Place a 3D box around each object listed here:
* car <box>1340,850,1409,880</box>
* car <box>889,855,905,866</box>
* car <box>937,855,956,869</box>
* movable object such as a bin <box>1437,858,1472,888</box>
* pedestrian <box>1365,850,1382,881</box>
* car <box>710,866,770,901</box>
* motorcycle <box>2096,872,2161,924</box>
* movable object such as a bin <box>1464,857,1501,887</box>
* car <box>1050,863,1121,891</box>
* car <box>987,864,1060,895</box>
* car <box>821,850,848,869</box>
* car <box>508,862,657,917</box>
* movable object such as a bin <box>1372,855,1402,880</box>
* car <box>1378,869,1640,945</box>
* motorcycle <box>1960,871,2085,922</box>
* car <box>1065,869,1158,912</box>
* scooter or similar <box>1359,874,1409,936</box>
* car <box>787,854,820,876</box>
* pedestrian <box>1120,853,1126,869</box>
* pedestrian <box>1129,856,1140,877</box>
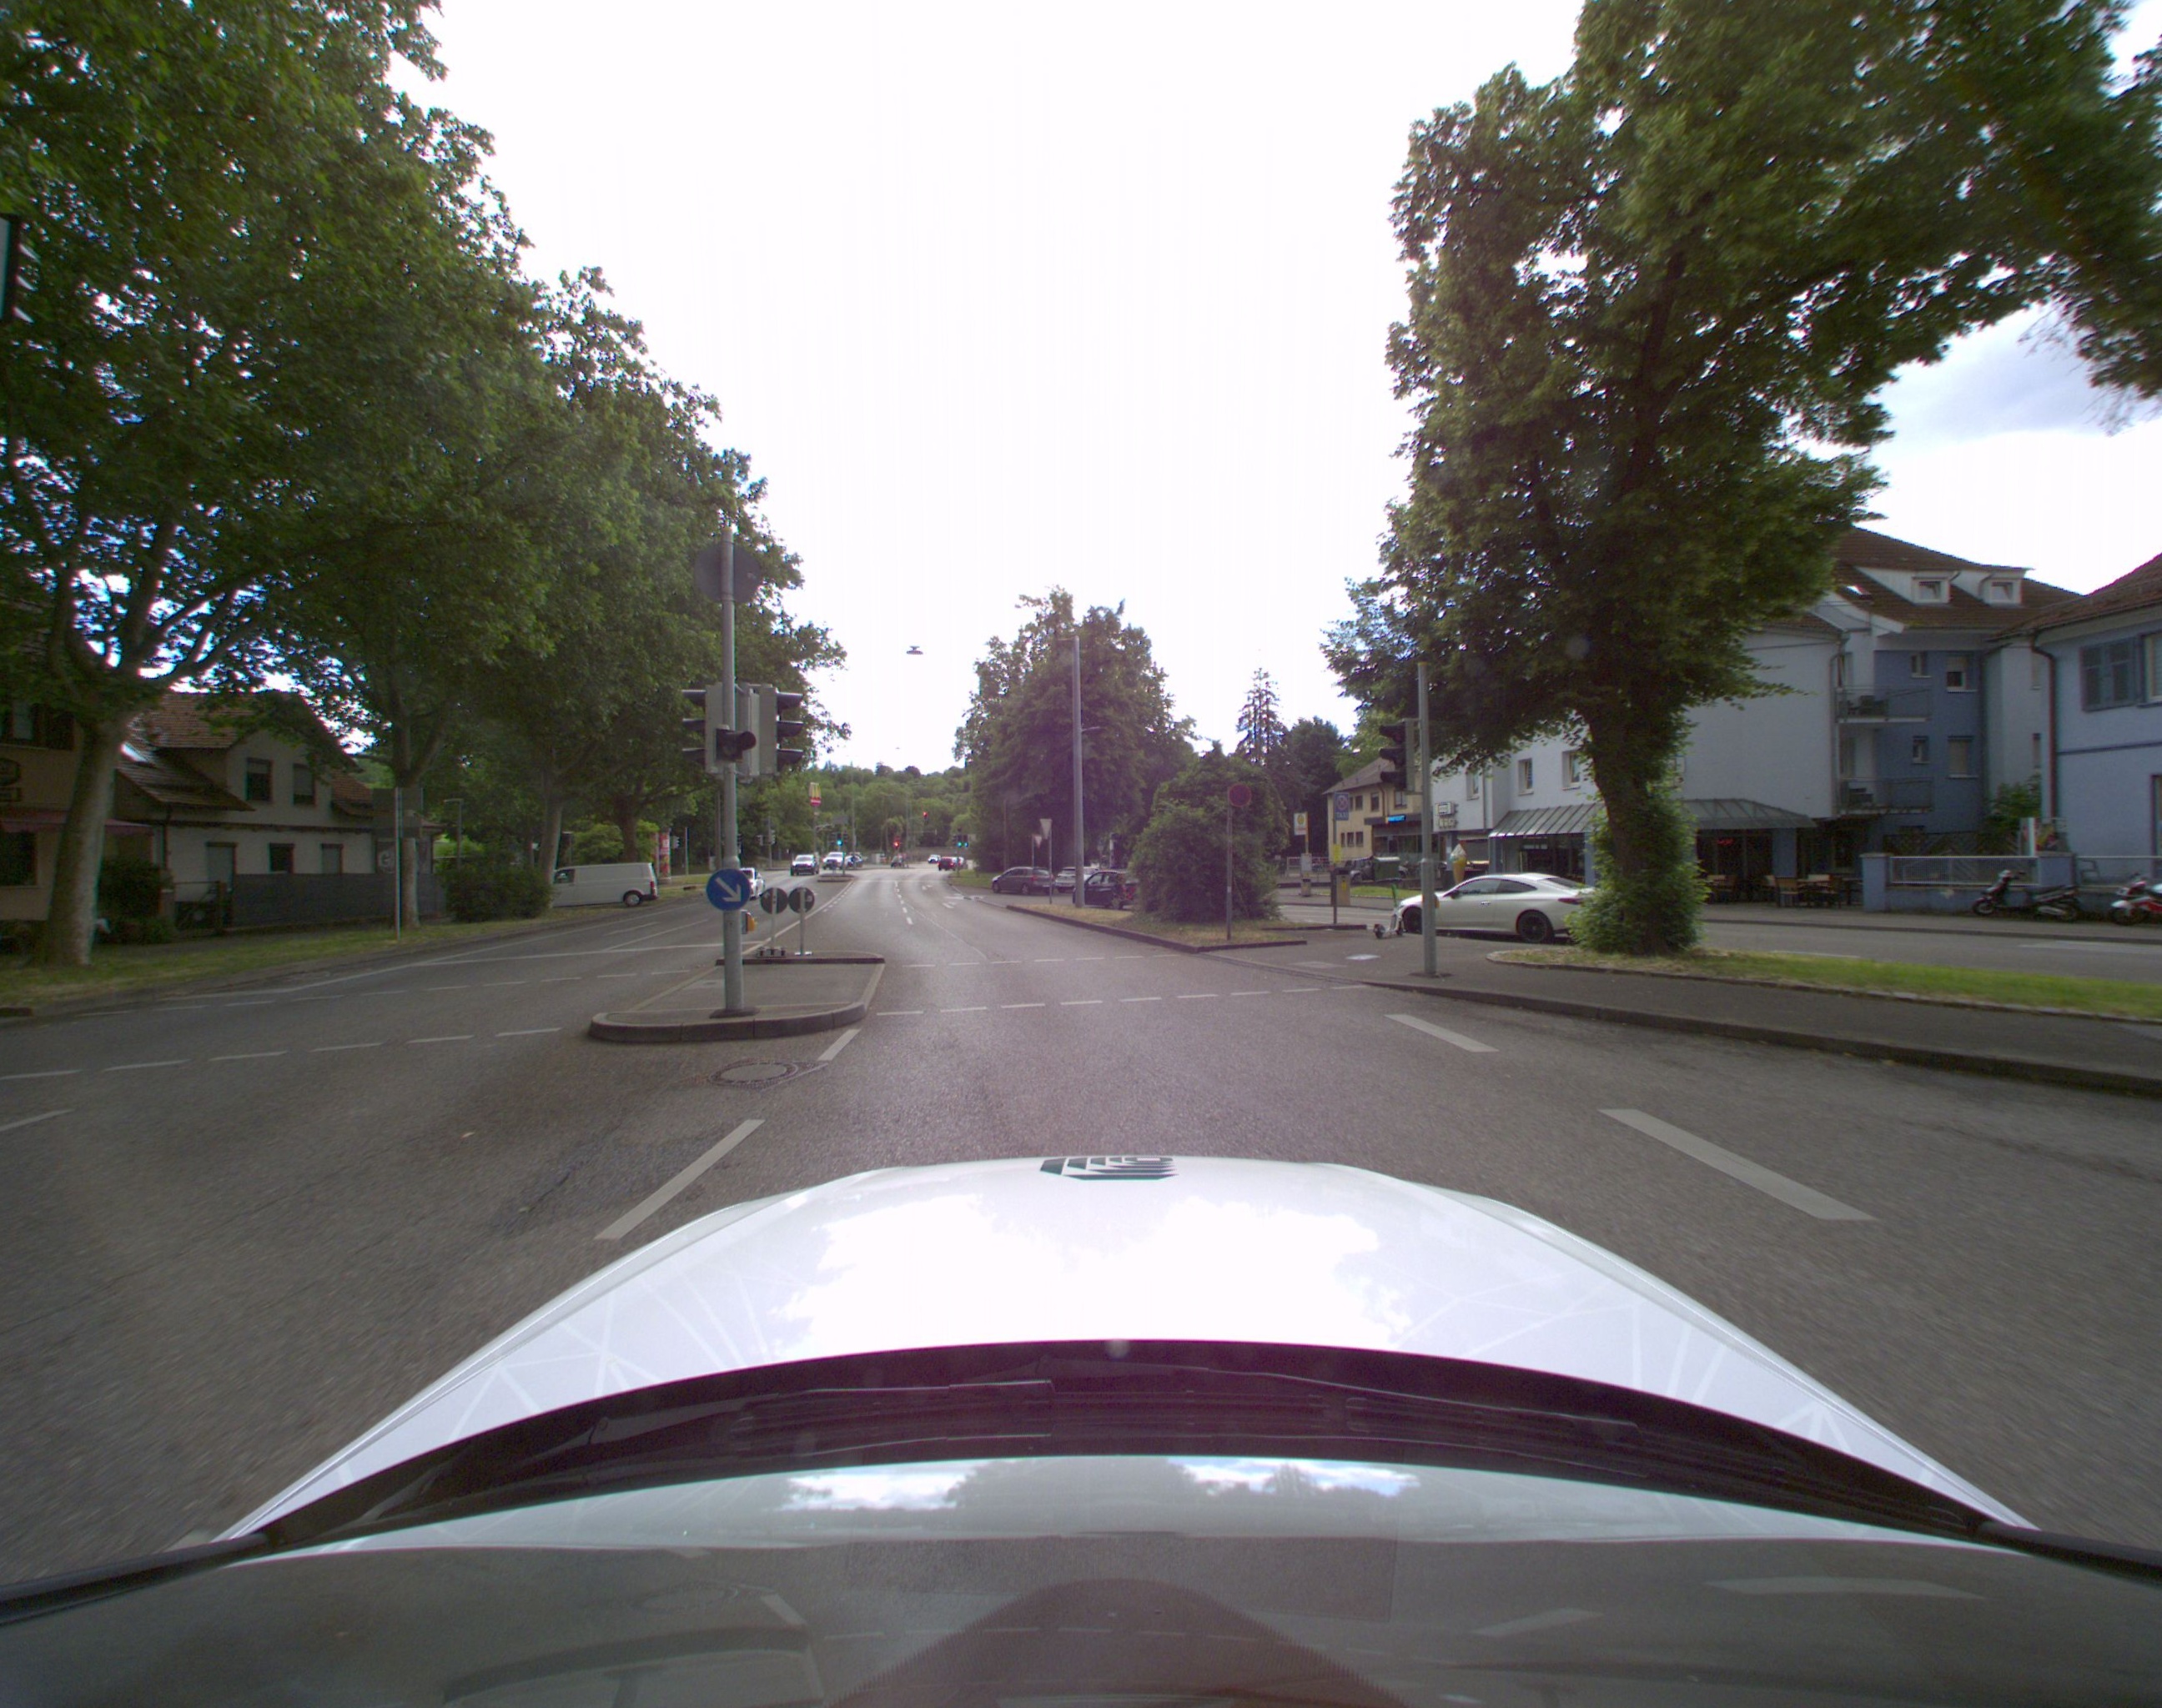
[{"bbox_3d":[17.081,0.641,47.511,3.404,1.630,1.623,-2,-1,-2],"label":"car"},{"bbox_3d":[-26.388,0.933,116.864,1.564,1.527,3.188,-1,1,-1],"label":"car"},{"bbox_3d":[-14.591,0.880,88.565,1.821,1.509,4.562,-1,0,-7],"label":"car"},{"bbox_3d":[18.478,0.918,40.305,1.209,1.416,1.095,-2,-1,2],"label":"movable object such as a bin"},{"bbox_3d":[16.770,0.644,46.667,0.686,1.729,0.609,-1,-1,-8],"label":"pedestrian"},{"bbox_3d":[-16.066,1.364,38.609,1.763,1.466,4.007,-2,0,-11],"label":"car"},{"bbox_3d":[21.290,0.857,15.861,0.522,0.985,1.809,-1,-1,-24],"label":"motorcycle"},{"bbox_3d":[19.831,0.879,40.259,1.209,1.395,1.161,-2,-1,2],"label":"movable object such as a bin"},{"bbox_3d":[0.298,1.253,45.242,1.742,1.380,4.289,0,0,35],"label":"car"},{"bbox_3d":[-3.114,1.309,43.389,1.743,1.429,4.063,-1,1,-43],"label":"car"},{"bbox_3d":[-25.331,0.547,83.746,1.910,1.763,4.738,-1,1,-9],"label":"car"},{"bbox_3d":[-21.450,1.478,35.357,5.255,1.931,2.066,-3,1,-27],"label":"car"},{"bbox_3d":[17.078,0.739,45.490,1.215,1.345,0.992,-1,-1,-8],"label":"movable object such as a bin"},{"bbox_3d":[9.240,1.070,18.030,2.007,1.386,4.739,-1,-1,-32],"label":"car"},{"bbox_3d":[20.649,0.907,17.914,0.490,1.031,1.711,-1,0,-24],"label":"motorcycle"},{"bbox_3d":[1.098,1.312,30.238,1.581,1.404,3.455,-1,1,-38],"label":"car"},{"bbox_3d":[5.993,0.986,16.081,0.407,1.167,1.370,-1,-3,44],"label":"scooter or similar"},{"bbox_3d":[-22.920,0.866,67.457,1.797,1.586,4.400,-3,1,-10],"label":"car"},{"bbox_3d":[4.001,0.690,78.167,0.508,1.531,0.778,-1,0,1],"label":"pedestrian"},{"bbox_3d":[3.961,0.921,60.186,0.683,1.551,0.741,-1,0,-8],"label":"pedestrian"}]
